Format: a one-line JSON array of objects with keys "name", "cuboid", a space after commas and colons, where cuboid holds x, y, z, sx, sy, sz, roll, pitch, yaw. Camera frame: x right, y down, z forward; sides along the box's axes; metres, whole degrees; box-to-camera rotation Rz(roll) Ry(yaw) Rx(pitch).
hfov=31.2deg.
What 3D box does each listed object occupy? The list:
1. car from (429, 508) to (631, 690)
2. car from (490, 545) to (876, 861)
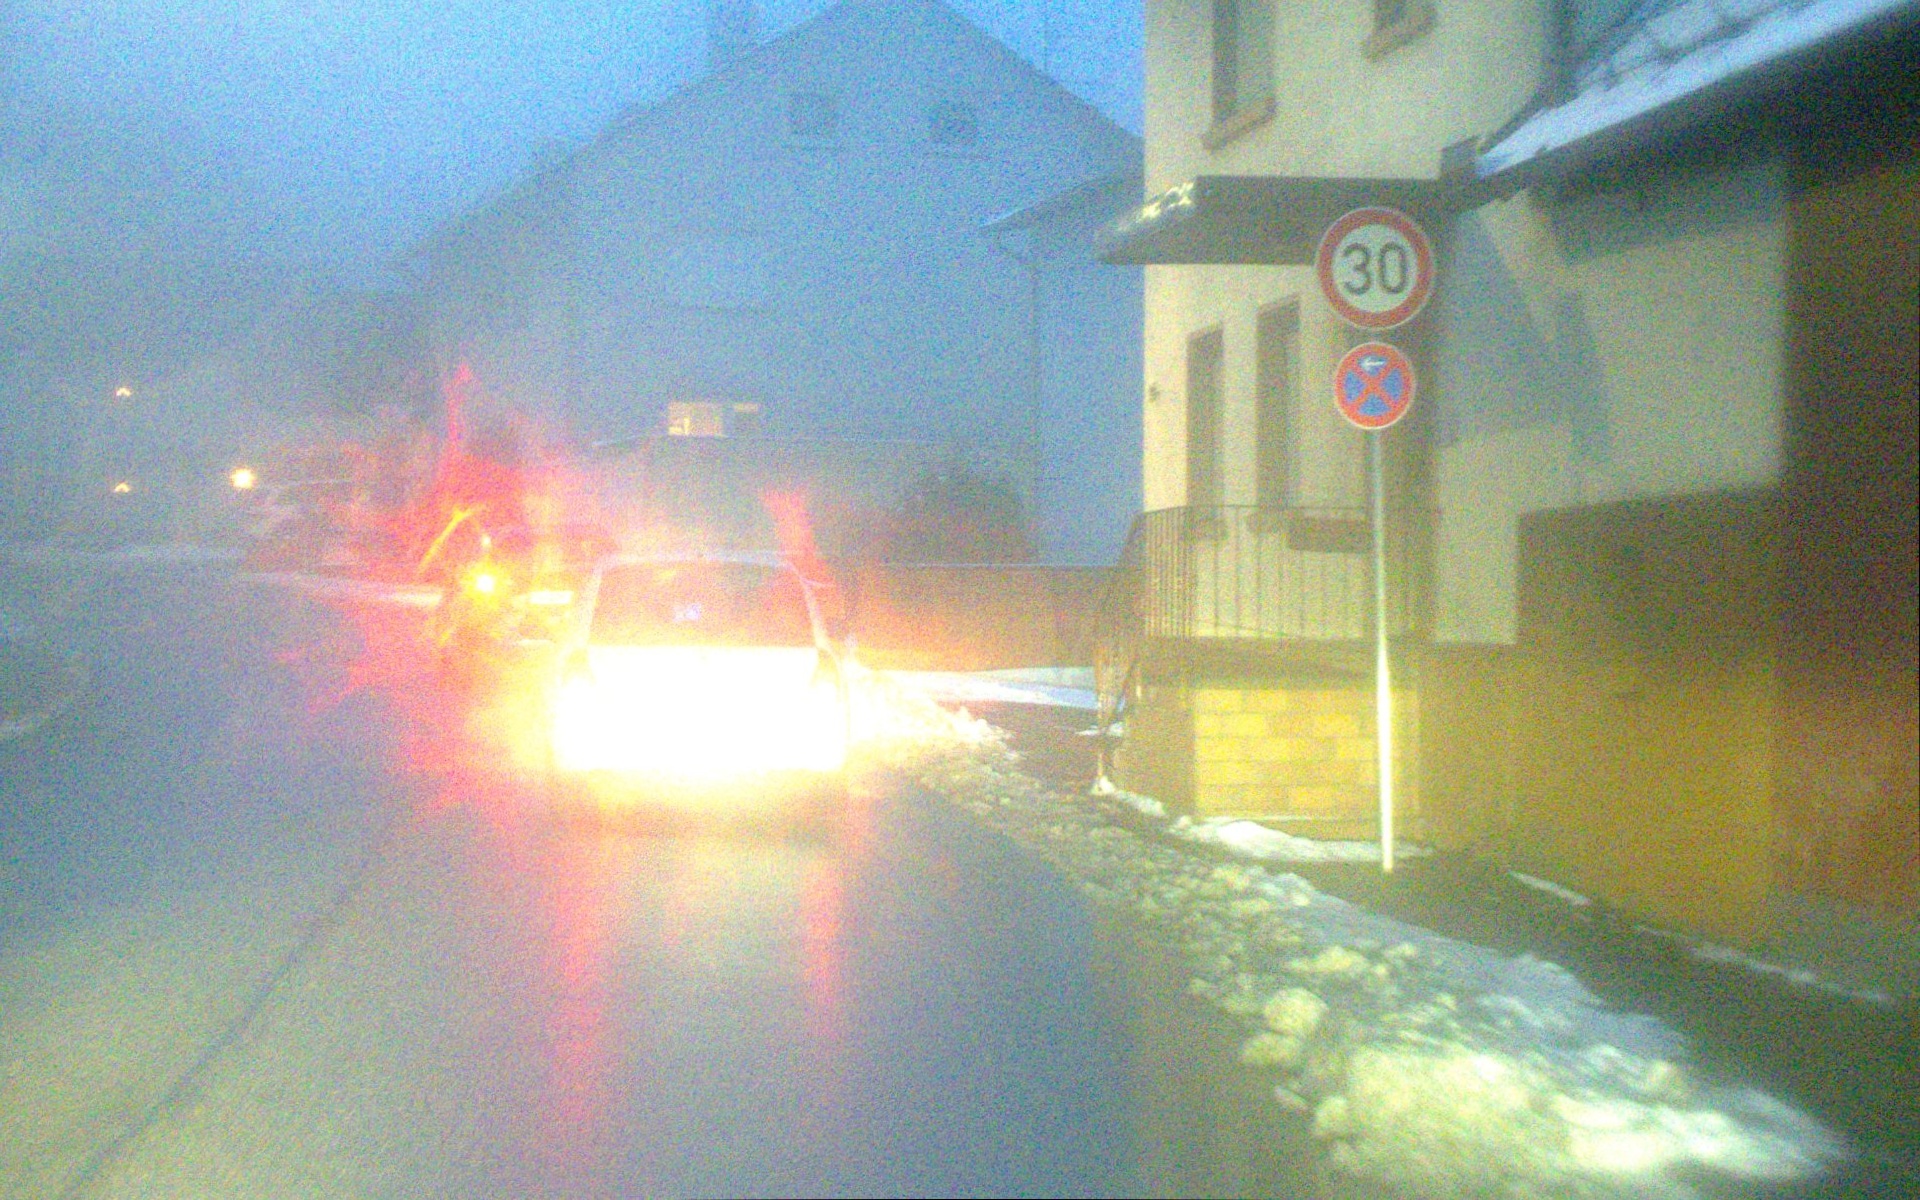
[{"name": "car", "cuboid": [-4.128, 0.001, 32.609, 1.645, 1.590, 3.700, 1, -1, -11]}, {"name": "car", "cuboid": [-1.651, 0.542, 19.373, 1.645, 1.590, 3.700, 1, -1, -12]}]
